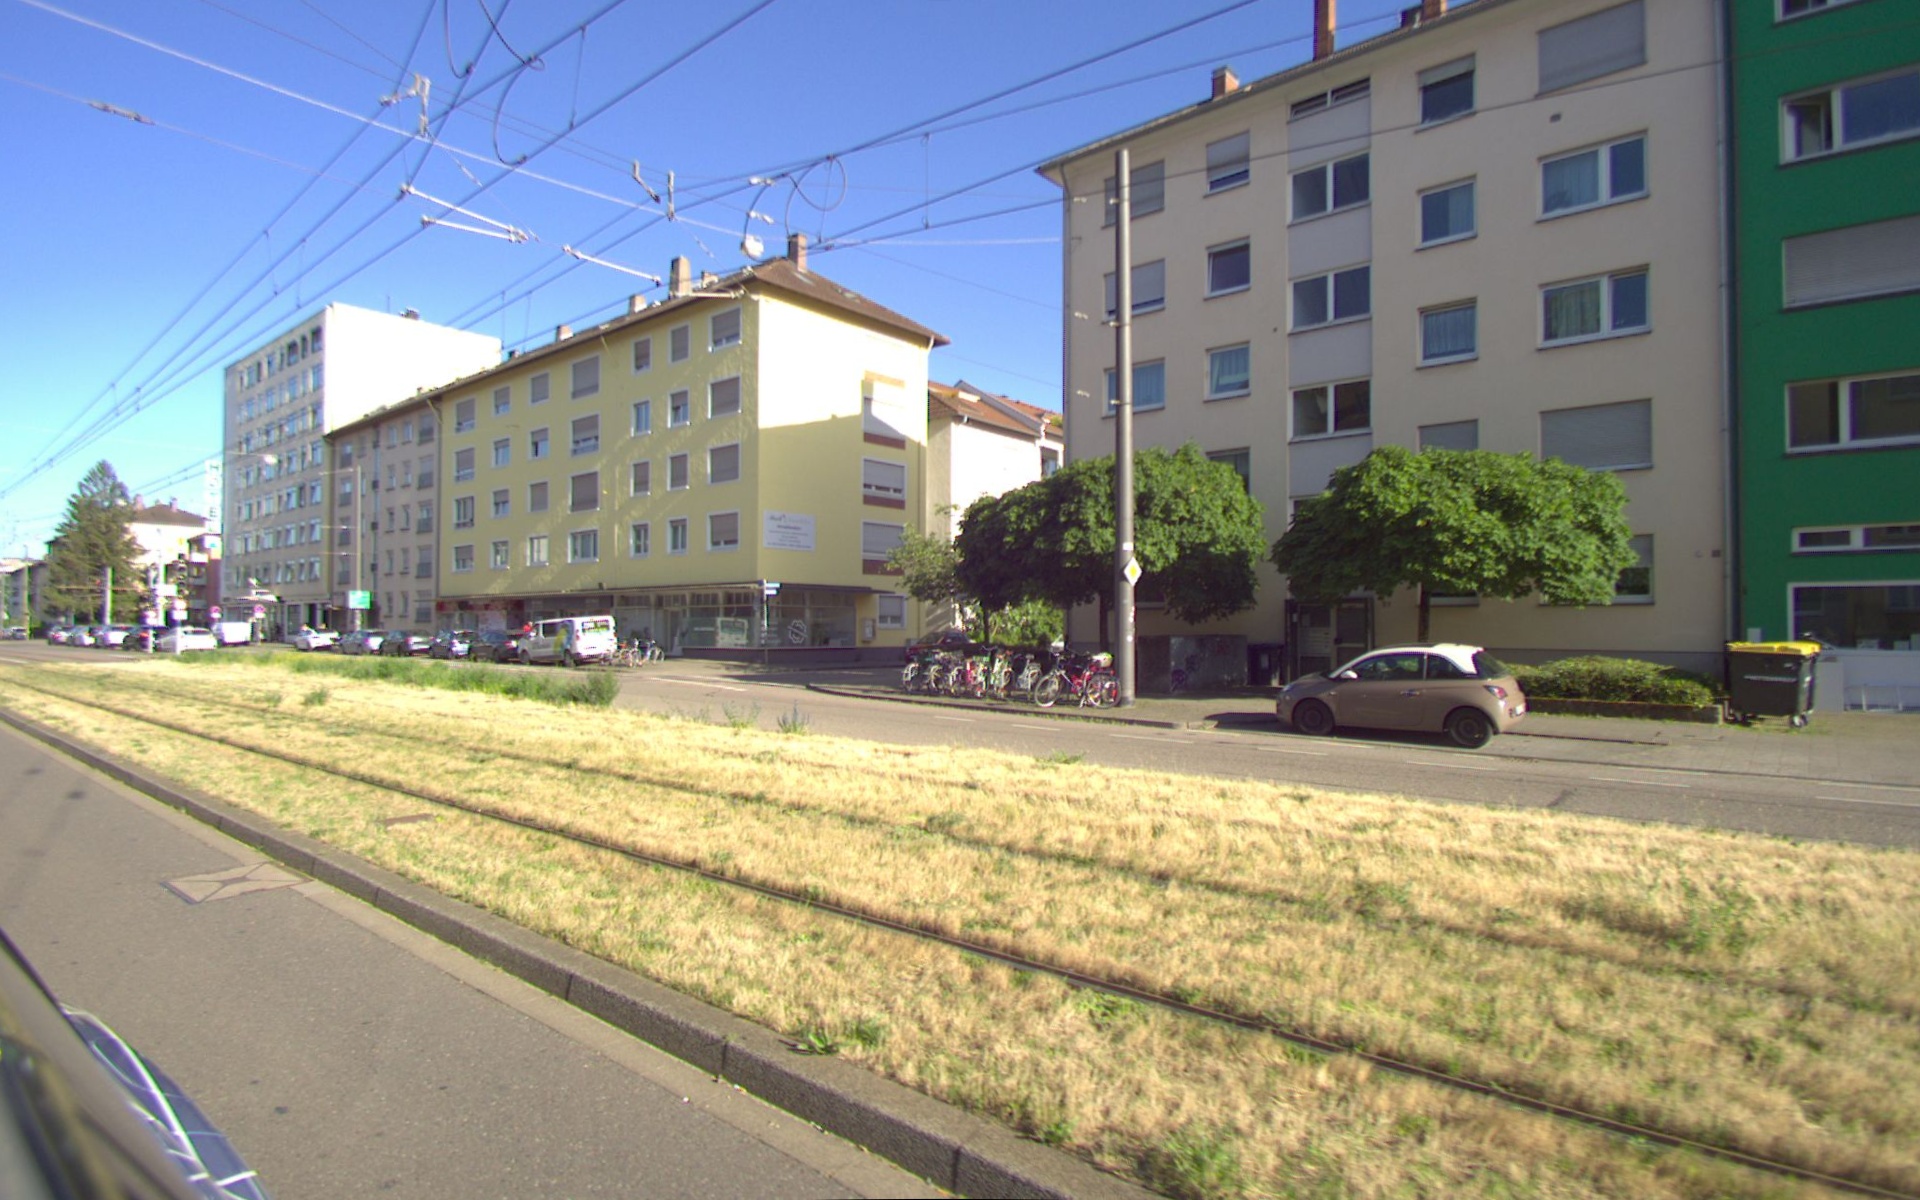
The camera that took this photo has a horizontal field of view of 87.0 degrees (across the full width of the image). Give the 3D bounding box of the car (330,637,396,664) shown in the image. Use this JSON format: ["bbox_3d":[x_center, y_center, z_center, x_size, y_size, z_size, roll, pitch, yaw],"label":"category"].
[{"bbox_3d":[-34.096,2.859,57.761,4.410,1.395,1.765,-2,0,39],"label":"car"}]

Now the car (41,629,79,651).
[{"bbox_3d":[-69.172,3.081,77.778,3.997,1.571,1.597,-2,-5,41],"label":"car"}]

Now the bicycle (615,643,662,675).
[{"bbox_3d":[-12.510,2.294,39.423,0.390,1.114,1.800,-2,0,41],"label":"bicycle"}]

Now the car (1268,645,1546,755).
[{"bbox_3d":[7.008,1.489,16.043,3.730,1.453,1.619,-2,0,39],"label":"car"}]

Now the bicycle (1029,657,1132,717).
[{"bbox_3d":[2.325,1.666,19.654,1.928,1.101,0.506,-2,0,30],"label":"bicycle"}]

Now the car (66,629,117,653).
[{"bbox_3d":[-59.319,2.807,69.072,4.236,1.562,1.838,-2,-5,39],"label":"car"}]

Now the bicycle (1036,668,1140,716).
[{"bbox_3d":[2.516,1.811,20.095,2.046,0.872,0.374,-2,0,30],"label":"bicycle"}]

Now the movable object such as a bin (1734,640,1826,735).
[{"bbox_3d":[13.088,1.365,16.152,1.039,1.378,1.134,-1,0,43],"label":"movable object such as a bin"}]

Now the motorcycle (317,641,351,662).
[{"bbox_3d":[-37.442,3.076,60.527,0.481,1.147,2.107,-2,0,7],"label":"motorcycle"}]

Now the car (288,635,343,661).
[{"bbox_3d":[-40.378,2.971,63.359,4.197,1.497,1.740,-2,0,41],"label":"car"}]

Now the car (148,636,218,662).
[{"bbox_3d":[-42.825,2.697,55.778,4.405,1.395,1.817,-2,-4,35],"label":"car"}]

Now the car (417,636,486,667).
[{"bbox_3d":[-25.423,2.550,50.578,3.766,1.395,1.765,-2,0,41],"label":"car"}]

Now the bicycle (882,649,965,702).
[{"bbox_3d":[-0.842,1.767,23.978,2.024,1.101,0.616,-2,0,-43],"label":"bicycle"}]

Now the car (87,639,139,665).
[{"bbox_3d":[-53.906,3.276,64.374,4.605,1.593,1.764,-2,-4,41],"label":"car"}]

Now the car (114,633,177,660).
[{"bbox_3d":[-48.194,2.761,59.847,4.406,1.540,1.767,-2,-4,36],"label":"car"}]

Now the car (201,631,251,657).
[{"bbox_3d":[-56.662,3.379,78.093,4.665,1.912,1.974,-2,0,39],"label":"car"}]

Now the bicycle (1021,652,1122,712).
[{"bbox_3d":[2.350,1.711,21.253,2.019,1.101,0.617,-2,0,-22],"label":"bicycle"}]

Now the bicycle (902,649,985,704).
[{"bbox_3d":[-0.370,1.756,23.486,2.024,1.101,0.616,-2,0,-43],"label":"bicycle"}]

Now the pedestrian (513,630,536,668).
[{"bbox_3d":[-20.844,2.353,48.464,0.844,1.757,0.664,-2,0,41],"label":"pedestrian"}]

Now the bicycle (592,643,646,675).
[{"bbox_3d":[-13.654,2.347,40.549,0.472,1.114,2.076,-2,0,41],"label":"bicycle"}]

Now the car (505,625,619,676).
[{"bbox_3d":[-17.062,2.109,43.248,5.493,1.964,1.975,-2,0,38],"label":"car"}]

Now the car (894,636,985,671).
[{"bbox_3d":[-0.820,2.305,43.220,1.771,1.424,3.948,-2,-4,38],"label":"car"}]

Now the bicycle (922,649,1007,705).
[{"bbox_3d":[0.123,1.731,22.980,2.024,1.101,0.616,-2,0,-43],"label":"bicycle"}]

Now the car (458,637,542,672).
[{"bbox_3d":[-21.357,2.481,46.875,4.593,1.485,1.765,-2,0,41],"label":"car"}]

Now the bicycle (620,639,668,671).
[{"bbox_3d":[-12.209,2.128,39.137,0.390,1.114,1.800,-2,0,41],"label":"bicycle"}]

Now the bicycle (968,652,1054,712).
[{"bbox_3d":[1.127,1.749,21.928,2.024,1.101,0.616,-2,0,-43],"label":"bicycle"}]

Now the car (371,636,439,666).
[{"bbox_3d":[-29.764,2.709,54.225,4.412,1.431,1.765,-2,0,41],"label":"car"}]

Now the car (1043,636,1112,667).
[{"bbox_3d":[6.133,2.707,52.475,1.771,1.542,3.948,-2,-4,38],"label":"car"}]

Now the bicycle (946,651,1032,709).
[{"bbox_3d":[0.661,1.741,22.446,2.024,1.101,0.616,-2,0,-43],"label":"bicycle"}]

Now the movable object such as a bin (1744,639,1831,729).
[{"bbox_3d":[13.920,1.383,17.015,1.039,1.378,1.134,-1,0,43],"label":"movable object such as a bin"}]
